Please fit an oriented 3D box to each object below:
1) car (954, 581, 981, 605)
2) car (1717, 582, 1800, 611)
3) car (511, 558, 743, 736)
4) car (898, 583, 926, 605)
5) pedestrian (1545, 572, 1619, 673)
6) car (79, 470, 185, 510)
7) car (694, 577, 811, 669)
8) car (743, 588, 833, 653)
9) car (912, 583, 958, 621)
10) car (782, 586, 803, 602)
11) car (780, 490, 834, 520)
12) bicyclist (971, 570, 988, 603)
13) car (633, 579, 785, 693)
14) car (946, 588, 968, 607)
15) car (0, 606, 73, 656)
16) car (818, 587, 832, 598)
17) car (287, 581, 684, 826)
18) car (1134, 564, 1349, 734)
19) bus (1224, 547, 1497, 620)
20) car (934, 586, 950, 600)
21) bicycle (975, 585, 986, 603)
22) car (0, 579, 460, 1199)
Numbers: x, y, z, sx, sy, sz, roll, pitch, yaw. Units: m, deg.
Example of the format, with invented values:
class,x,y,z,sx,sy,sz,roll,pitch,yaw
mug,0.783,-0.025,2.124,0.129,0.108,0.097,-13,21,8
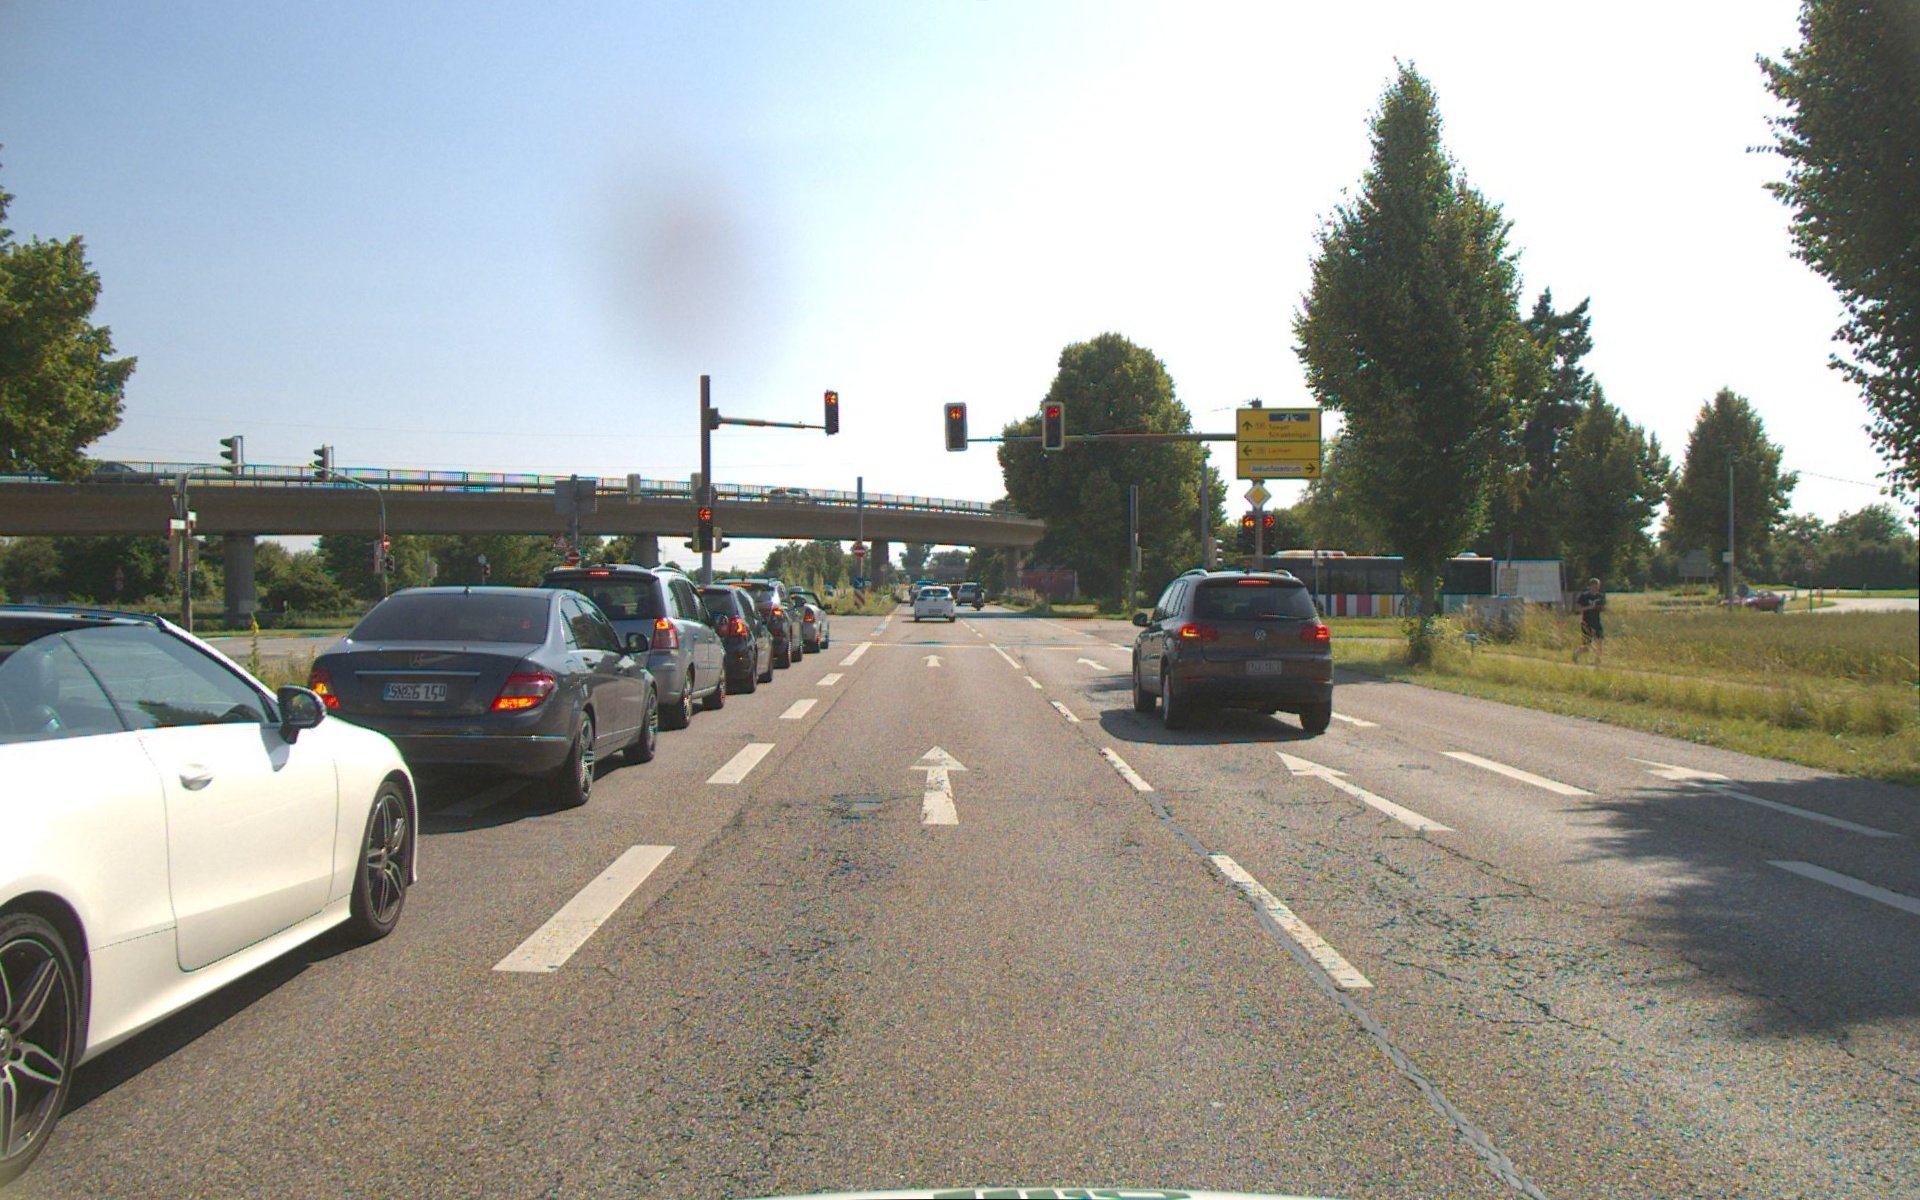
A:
class,x,y,z,sx,sy,sz,roll,pitch,yaw
car,0.537,-0.539,119.638,1.835,1.668,4.000,2,1,0
car,41.148,-0.205,85.241,3.933,1.422,1.669,-1,1,-23
car,-3.494,0.429,18.113,1.706,1.701,4.356,0,1,-1
car,-3.326,-0.443,115.809,1.835,1.518,4.000,0,1,0
pedestrian,11.696,0.409,31.132,0.883,1.871,1.194,0,0,-3
car,-38.671,-5.135,77.311,1.963,1.512,3.980,2,-1,39
car,-3.753,0.369,30.468,1.693,1.574,4.097,0,1,-1
car,-3.810,0.424,37.134,1.639,1.358,4.097,0,1,-1
car,-1.013,0.047,68.692,1.813,1.486,4.000,1,1,0
car,-17.593,-0.626,173.659,1.845,1.541,4.146,-3,0,-2
car,-10.855,-6.741,117.683,1.956,1.870,3.994,2,-1,28
bicyclist,1.168,-0.808,98.629,0.987,1.919,1.326,0,0,-2
car,-3.548,0.454,23.984,1.632,1.500,4.097,0,1,-1
car,-0.294,-0.203,156.252,1.953,1.660,3.999,2,0,-2
car,-28.983,0.939,49.508,4.055,1.449,1.859,-1,0,-21
car,-17.569,-0.983,215.403,1.582,1.467,3.775,-3,0,-1
car,-3.213,0.598,12.109,1.679,1.434,4.354,1,1,-1
car,3.079,0.488,18.863,1.719,1.684,4.146,1,0,0
bus,17.565,-0.756,72.482,11.746,2.927,2.929,-1,0,-17
car,-2.377,-0.928,215.314,1.953,1.684,3.999,2,0,-1
bicycle,1.240,-0.362,98.351,0.588,1.000,2.360,0,1,-1
car,-3.122,0.660,5.197,1.767,1.450,4.640,1,0,-1
